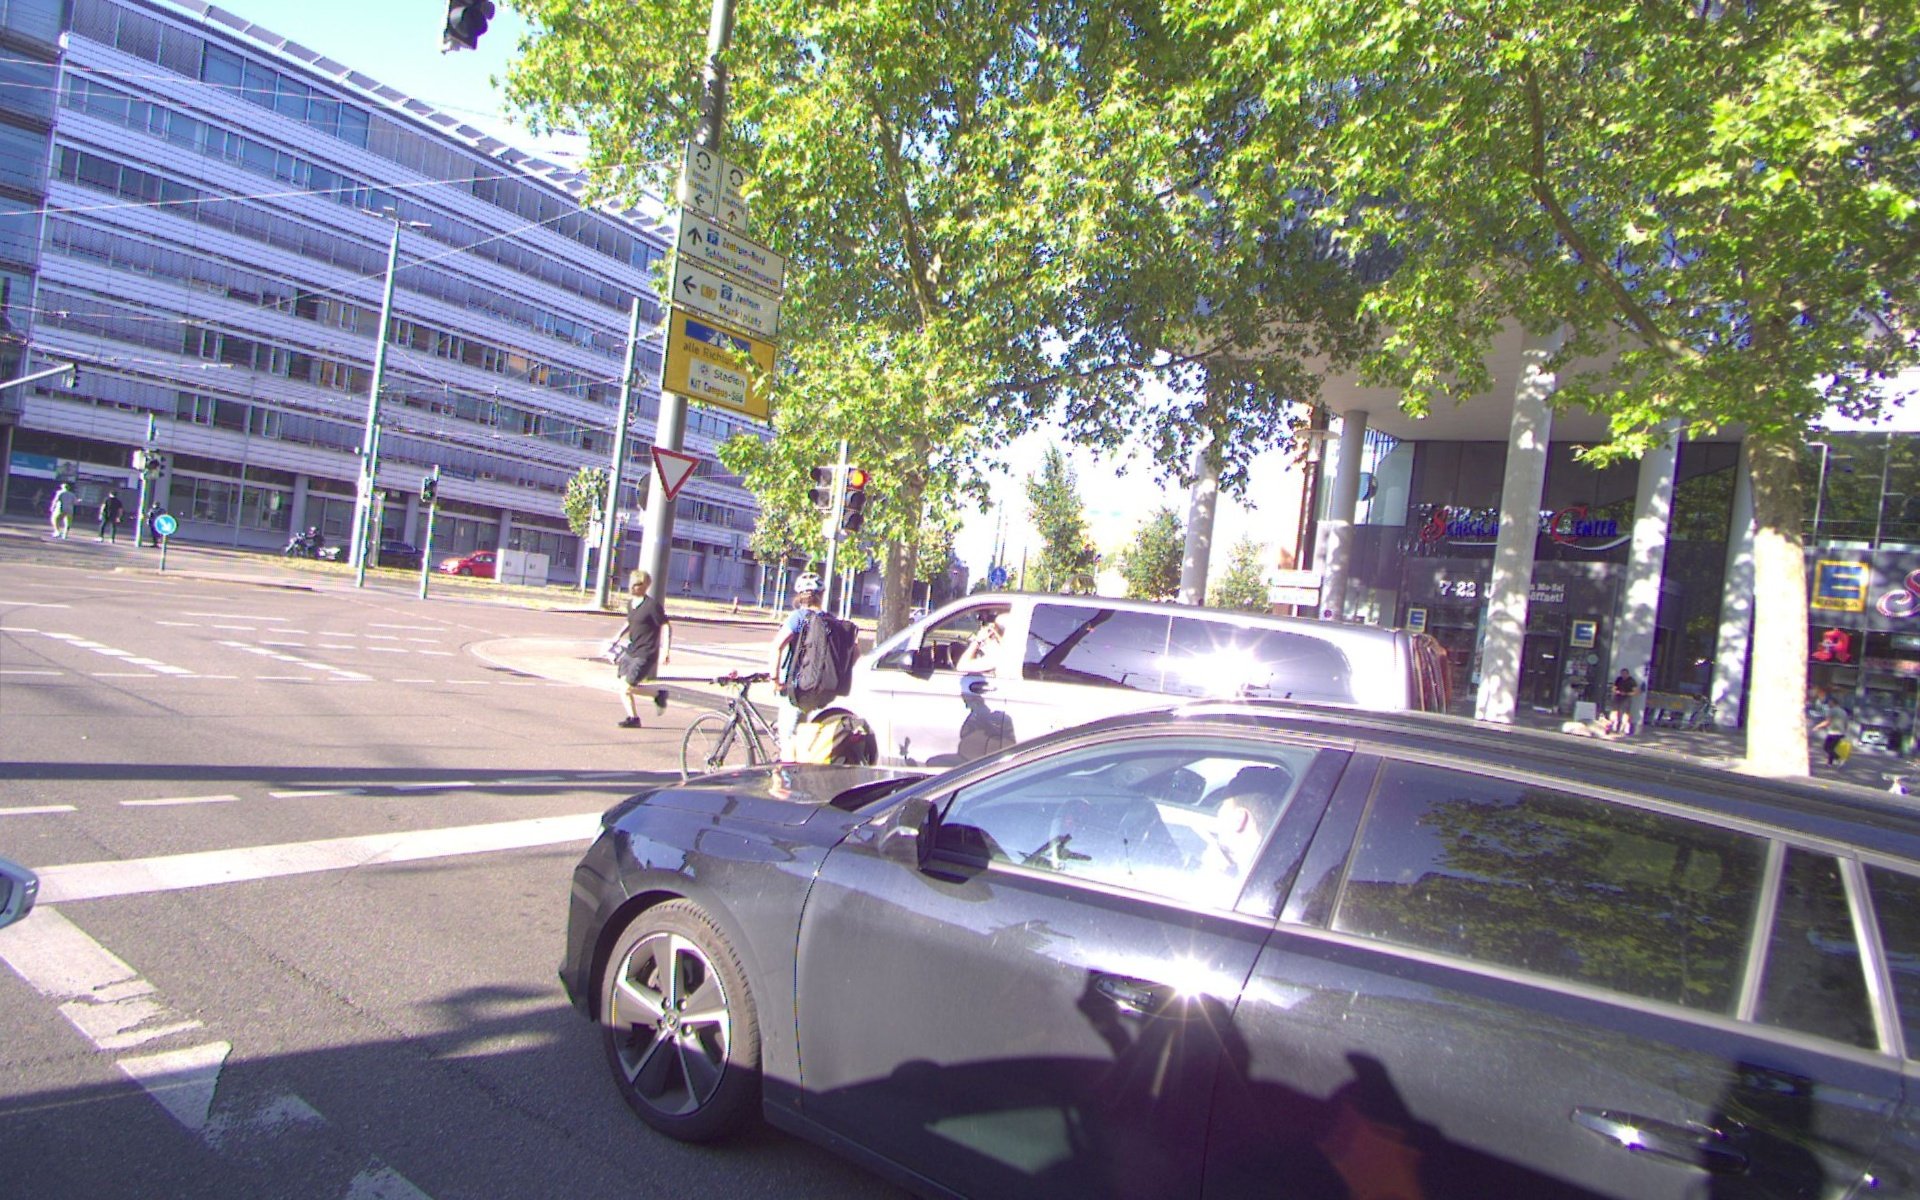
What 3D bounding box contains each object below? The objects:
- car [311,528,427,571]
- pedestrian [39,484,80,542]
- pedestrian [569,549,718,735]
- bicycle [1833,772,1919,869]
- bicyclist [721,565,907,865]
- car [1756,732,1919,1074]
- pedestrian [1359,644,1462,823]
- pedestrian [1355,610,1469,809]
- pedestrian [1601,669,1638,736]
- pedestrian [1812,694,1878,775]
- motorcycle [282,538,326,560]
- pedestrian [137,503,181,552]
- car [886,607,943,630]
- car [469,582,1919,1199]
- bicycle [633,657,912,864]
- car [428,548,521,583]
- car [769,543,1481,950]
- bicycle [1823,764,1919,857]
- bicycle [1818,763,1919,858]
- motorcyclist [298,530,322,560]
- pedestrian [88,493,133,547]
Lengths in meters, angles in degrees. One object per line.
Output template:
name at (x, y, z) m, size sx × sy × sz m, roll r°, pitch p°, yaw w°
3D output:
car at (-27.056, -2.295, 46.129) m, size 1.758 × 1.415 × 4.157 m, roll 7°, pitch 0°, yaw 37°
pedestrian at (-30.439, -2.946, 34.017) m, size 0.860 × 1.811 × 0.861 m, roll 6°, pitch 1°, yaw -41°
pedestrian at (-3.281, 0.450, 10.499) m, size 0.730 × 1.769 × 1.091 m, roll 7°, pitch 0°, yaw 28°
bicycle at (10.540, 2.478, 11.100) m, size 1.233 × 0.898 × 0.462 m, roll 7°, pitch 1°, yaw 32°
bicyclist at (-0.923, 0.692, 6.383) m, size 0.766 × 1.714 × 0.632 m, roll 7°, pitch 1°, yaw 32°
car at (6.530, 1.738, 4.611) m, size 4.181 × 1.503 × 1.741 m, roll 7°, pitch 0°, yaw 31°
pedestrian at (4.951, 1.436, 11.041) m, size 0.752 × 1.799 × 0.647 m, roll 7°, pitch 1°, yaw 32°
pedestrian at (4.635, 1.095, 10.302) m, size 0.800 × 1.868 × 0.642 m, roll 7°, pitch 1°, yaw 30°
pedestrian at (17.533, 2.735, 26.758) m, size 0.598 × 1.707 × 0.511 m, roll 6°, pitch 1°, yaw -41°
pedestrian at (20.670, 3.127, 23.510) m, size 0.704 × 1.728 × 0.806 m, roll 7°, pitch 1°, yaw 15°
motorcycle at (-30.174, -2.350, 46.307) m, size 0.460 × 0.820 × 1.568 m, roll 7°, pitch 0°, yaw 36°
pedestrian at (-28.491, -2.568, 35.769) m, size 0.883 × 1.583 × 0.947 m, roll 7°, pitch 1°, yaw 39°
car at (-3.490, 1.436, 77.670) m, size 1.758 × 1.353 × 4.605 m, roll 7°, pitch 0°, yaw 37°
car at (0.795, 0.947, 2.738) m, size 4.199 × 1.431 × 1.742 m, roll 7°, pitch -2°, yaw 32°
bicycle at (-1.278, 1.000, 6.673) m, size 1.839 × 0.993 × 0.561 m, roll 7°, pitch 1°, yaw 32°
car at (-25.528, -1.785, 53.028) m, size 1.758 × 1.411 × 3.984 m, roll 7°, pitch 1°, yaw 37°
car at (1.130, 0.844, 7.940) m, size 5.012 × 2.004 × 1.939 m, roll 7°, pitch 0°, yaw 31°
bicycle at (11.497, 2.606, 12.359) m, size 0.460 × 0.938 × 1.210 m, roll 6°, pitch 0°, yaw -39°
bicycle at (11.199, 2.544, 12.087) m, size 0.437 × 0.930 × 1.210 m, roll 6°, pitch 0°, yaw -39°
motorcyclist at (-30.022, -2.543, 46.476) m, size 0.452 × 1.291 × 0.712 m, roll 7°, pitch 1°, yaw 36°
pedestrian at (-29.830, -2.809, 35.326) m, size 1.020 × 1.706 × 0.912 m, roll 7°, pitch 1°, yaw 39°
